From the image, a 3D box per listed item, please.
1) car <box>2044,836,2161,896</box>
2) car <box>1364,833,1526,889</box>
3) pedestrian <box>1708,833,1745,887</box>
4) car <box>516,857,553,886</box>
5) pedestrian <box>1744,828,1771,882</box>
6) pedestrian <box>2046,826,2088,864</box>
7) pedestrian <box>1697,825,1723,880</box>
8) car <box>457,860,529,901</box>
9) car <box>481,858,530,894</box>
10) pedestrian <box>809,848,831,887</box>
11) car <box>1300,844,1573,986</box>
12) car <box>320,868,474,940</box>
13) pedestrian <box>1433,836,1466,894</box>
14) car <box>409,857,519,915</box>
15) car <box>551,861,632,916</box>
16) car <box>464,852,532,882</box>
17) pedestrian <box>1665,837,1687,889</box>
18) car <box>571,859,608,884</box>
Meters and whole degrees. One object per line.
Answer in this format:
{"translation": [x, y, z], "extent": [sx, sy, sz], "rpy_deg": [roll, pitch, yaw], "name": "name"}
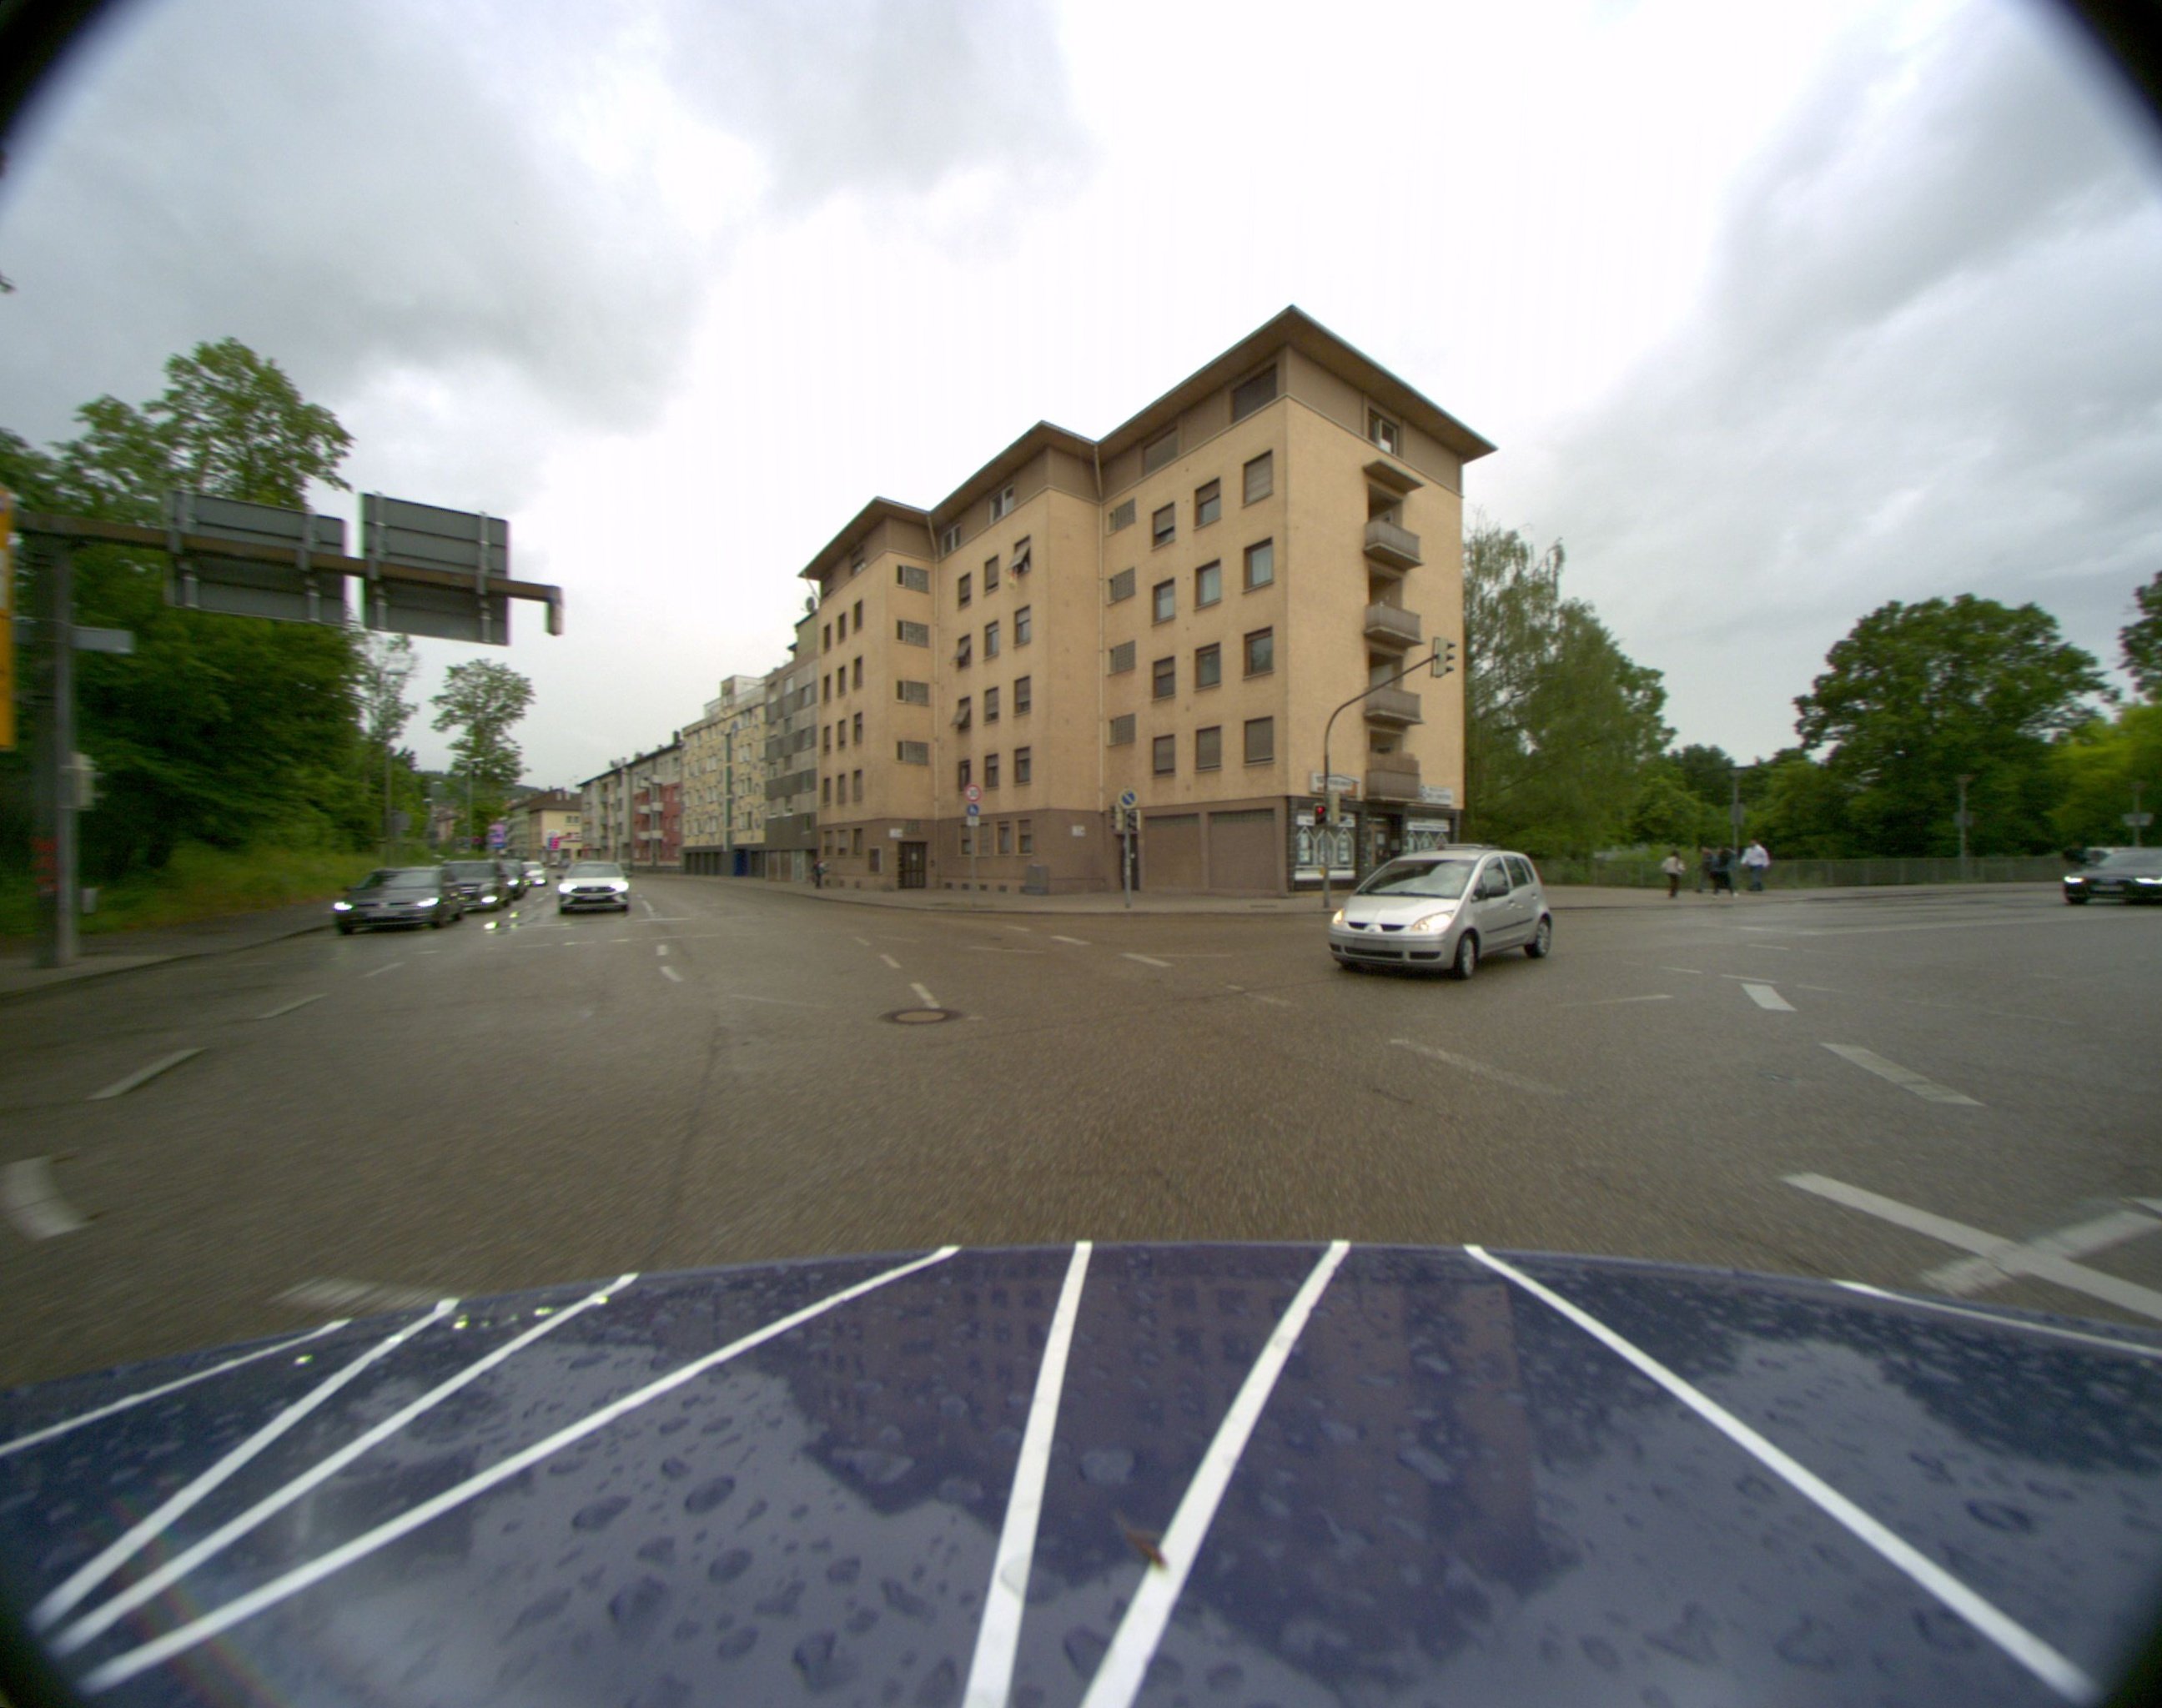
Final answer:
{"translation": [28.056, 0.257, 19.976], "extent": [4.510, 1.454, 1.997], "rpy_deg": [-1, 1, -19], "name": "car"}
{"translation": [11.473, 0.158, 24.137], "extent": [1.763, 1.638, 4.269], "rpy_deg": [-2, 2, -45], "name": "car"}
{"translation": [19.775, 0.189, 23.299], "extent": [0.701, 1.637, 0.661], "rpy_deg": [-1, 1, 24], "name": "pedestrian"}
{"translation": [-32.437, 0.998, 45.167], "extent": [1.685, 1.646, 3.989], "rpy_deg": [-1, 0, -34], "name": "car"}
{"translation": [22.909, 0.032, 25.735], "extent": [0.509, 1.793, 0.498], "rpy_deg": [-1, 1, 7], "name": "pedestrian"}
{"translation": [39.127, -0.353, 30.159], "extent": [0.707, 1.465, 0.789], "rpy_deg": [0, 1, -15], "name": "pedestrian"}
{"translation": [20.892, -0.054, 25.236], "extent": [0.558, 1.793, 0.477], "rpy_deg": [-1, 1, 21], "name": "pedestrian"}
{"translation": [-23.609, 0.996, 30.667], "extent": [2.004, 1.469, 4.608], "rpy_deg": [0, 0, -34], "name": "car"}
{"translation": [-27.723, 1.012, 36.715], "extent": [1.685, 1.646, 3.989], "rpy_deg": [-1, 0, -34], "name": "car"}
{"translation": [-13.899, 0.715, 40.478], "extent": [0.812, 2.002, 0.856], "rpy_deg": [-2, 0, -36], "name": "pedestrian"}
{"translation": [4.954, 0.680, 10.373], "extent": [4.007, 1.510, 1.749], "rpy_deg": [-2, 0, -39], "name": "car"}
{"translation": [-16.132, 1.078, 18.176], "extent": [1.823, 1.400, 4.222], "rpy_deg": [-1, 1, -30], "name": "car"}
{"translation": [10.442, 0.306, 21.557], "extent": [0.582, 1.629, 0.617], "rpy_deg": [0, 1, -14], "name": "pedestrian"}
{"translation": [-19.427, 0.925, 24.132], "extent": [2.003, 1.607, 4.608], "rpy_deg": [-1, 1, -31], "name": "car"}
{"translation": [-15.013, 0.966, 23.239], "extent": [1.883, 1.469, 4.542], "rpy_deg": [0, 0, -34], "name": "car"}
{"translation": [-40.815, 0.896, 53.168], "extent": [4.476, 2.002, 2.004], "rpy_deg": [-1, 1, 28], "name": "car"}
{"translation": [18.209, 0.265, 23.256], "extent": [0.443, 1.574, 0.461], "rpy_deg": [-2, 1, -44], "name": "pedestrian"}
{"translation": [-28.504, 0.979, 44.068], "extent": [1.715, 1.386, 3.990], "rpy_deg": [-1, 0, -33], "name": "car"}
